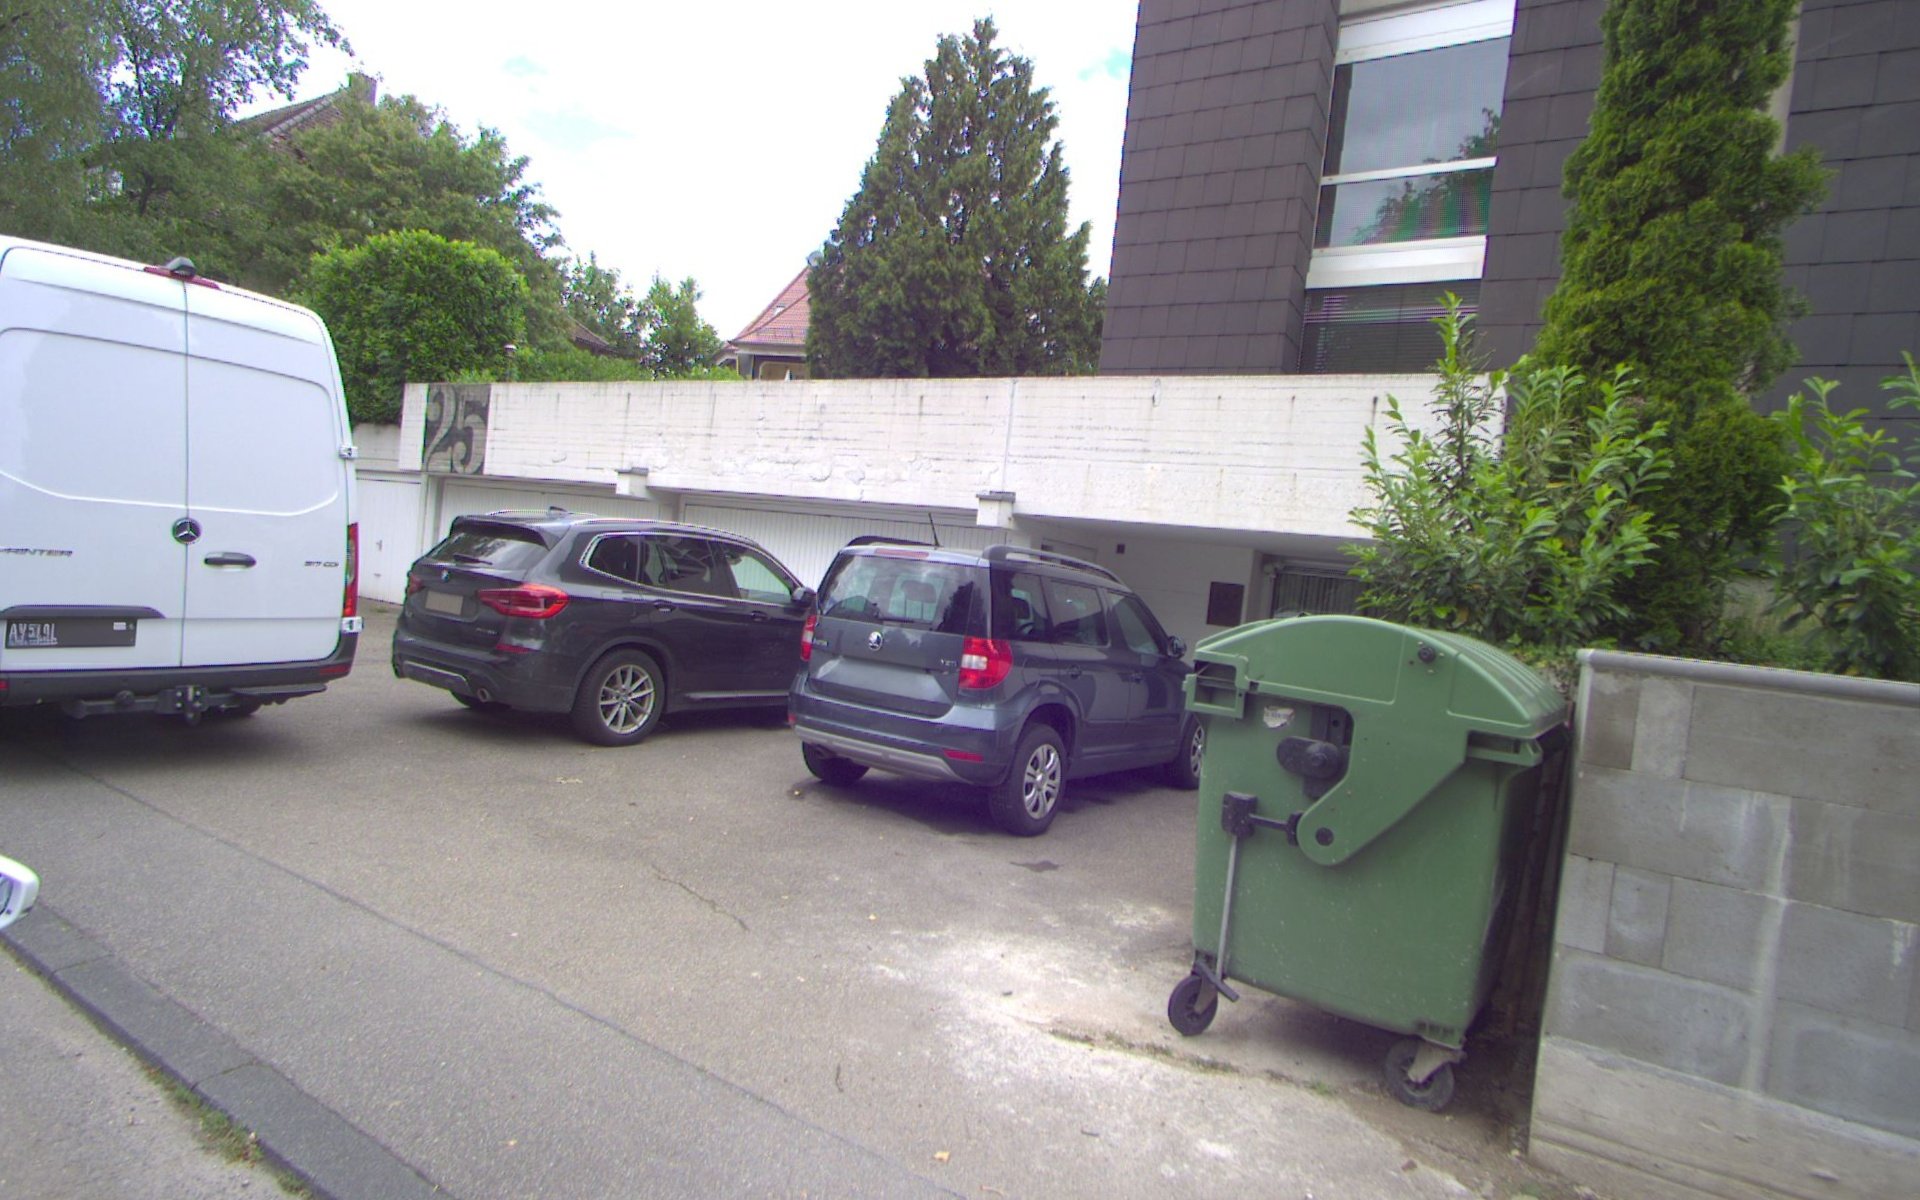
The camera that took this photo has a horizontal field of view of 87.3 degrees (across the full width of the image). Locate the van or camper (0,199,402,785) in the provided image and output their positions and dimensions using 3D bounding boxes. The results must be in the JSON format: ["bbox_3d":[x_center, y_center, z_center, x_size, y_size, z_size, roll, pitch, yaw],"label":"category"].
[{"bbox_3d":[-6.705,-0.737,6.905,6.432,2.653,1.995,7,1,32],"label":"van or camper"}]

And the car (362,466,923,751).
[{"bbox_3d":[-2.361,0.122,8.682,1.710,1.772,4.419,7,1,33],"label":"car"}]

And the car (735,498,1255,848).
[{"bbox_3d":[0.534,0.453,7.400,1.804,1.772,3.973,7,1,35],"label":"car"}]

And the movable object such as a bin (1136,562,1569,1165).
[{"bbox_3d":[1.353,0.727,3.395,1.016,1.550,1.034,7,1,33],"label":"movable object such as a bin"}]
